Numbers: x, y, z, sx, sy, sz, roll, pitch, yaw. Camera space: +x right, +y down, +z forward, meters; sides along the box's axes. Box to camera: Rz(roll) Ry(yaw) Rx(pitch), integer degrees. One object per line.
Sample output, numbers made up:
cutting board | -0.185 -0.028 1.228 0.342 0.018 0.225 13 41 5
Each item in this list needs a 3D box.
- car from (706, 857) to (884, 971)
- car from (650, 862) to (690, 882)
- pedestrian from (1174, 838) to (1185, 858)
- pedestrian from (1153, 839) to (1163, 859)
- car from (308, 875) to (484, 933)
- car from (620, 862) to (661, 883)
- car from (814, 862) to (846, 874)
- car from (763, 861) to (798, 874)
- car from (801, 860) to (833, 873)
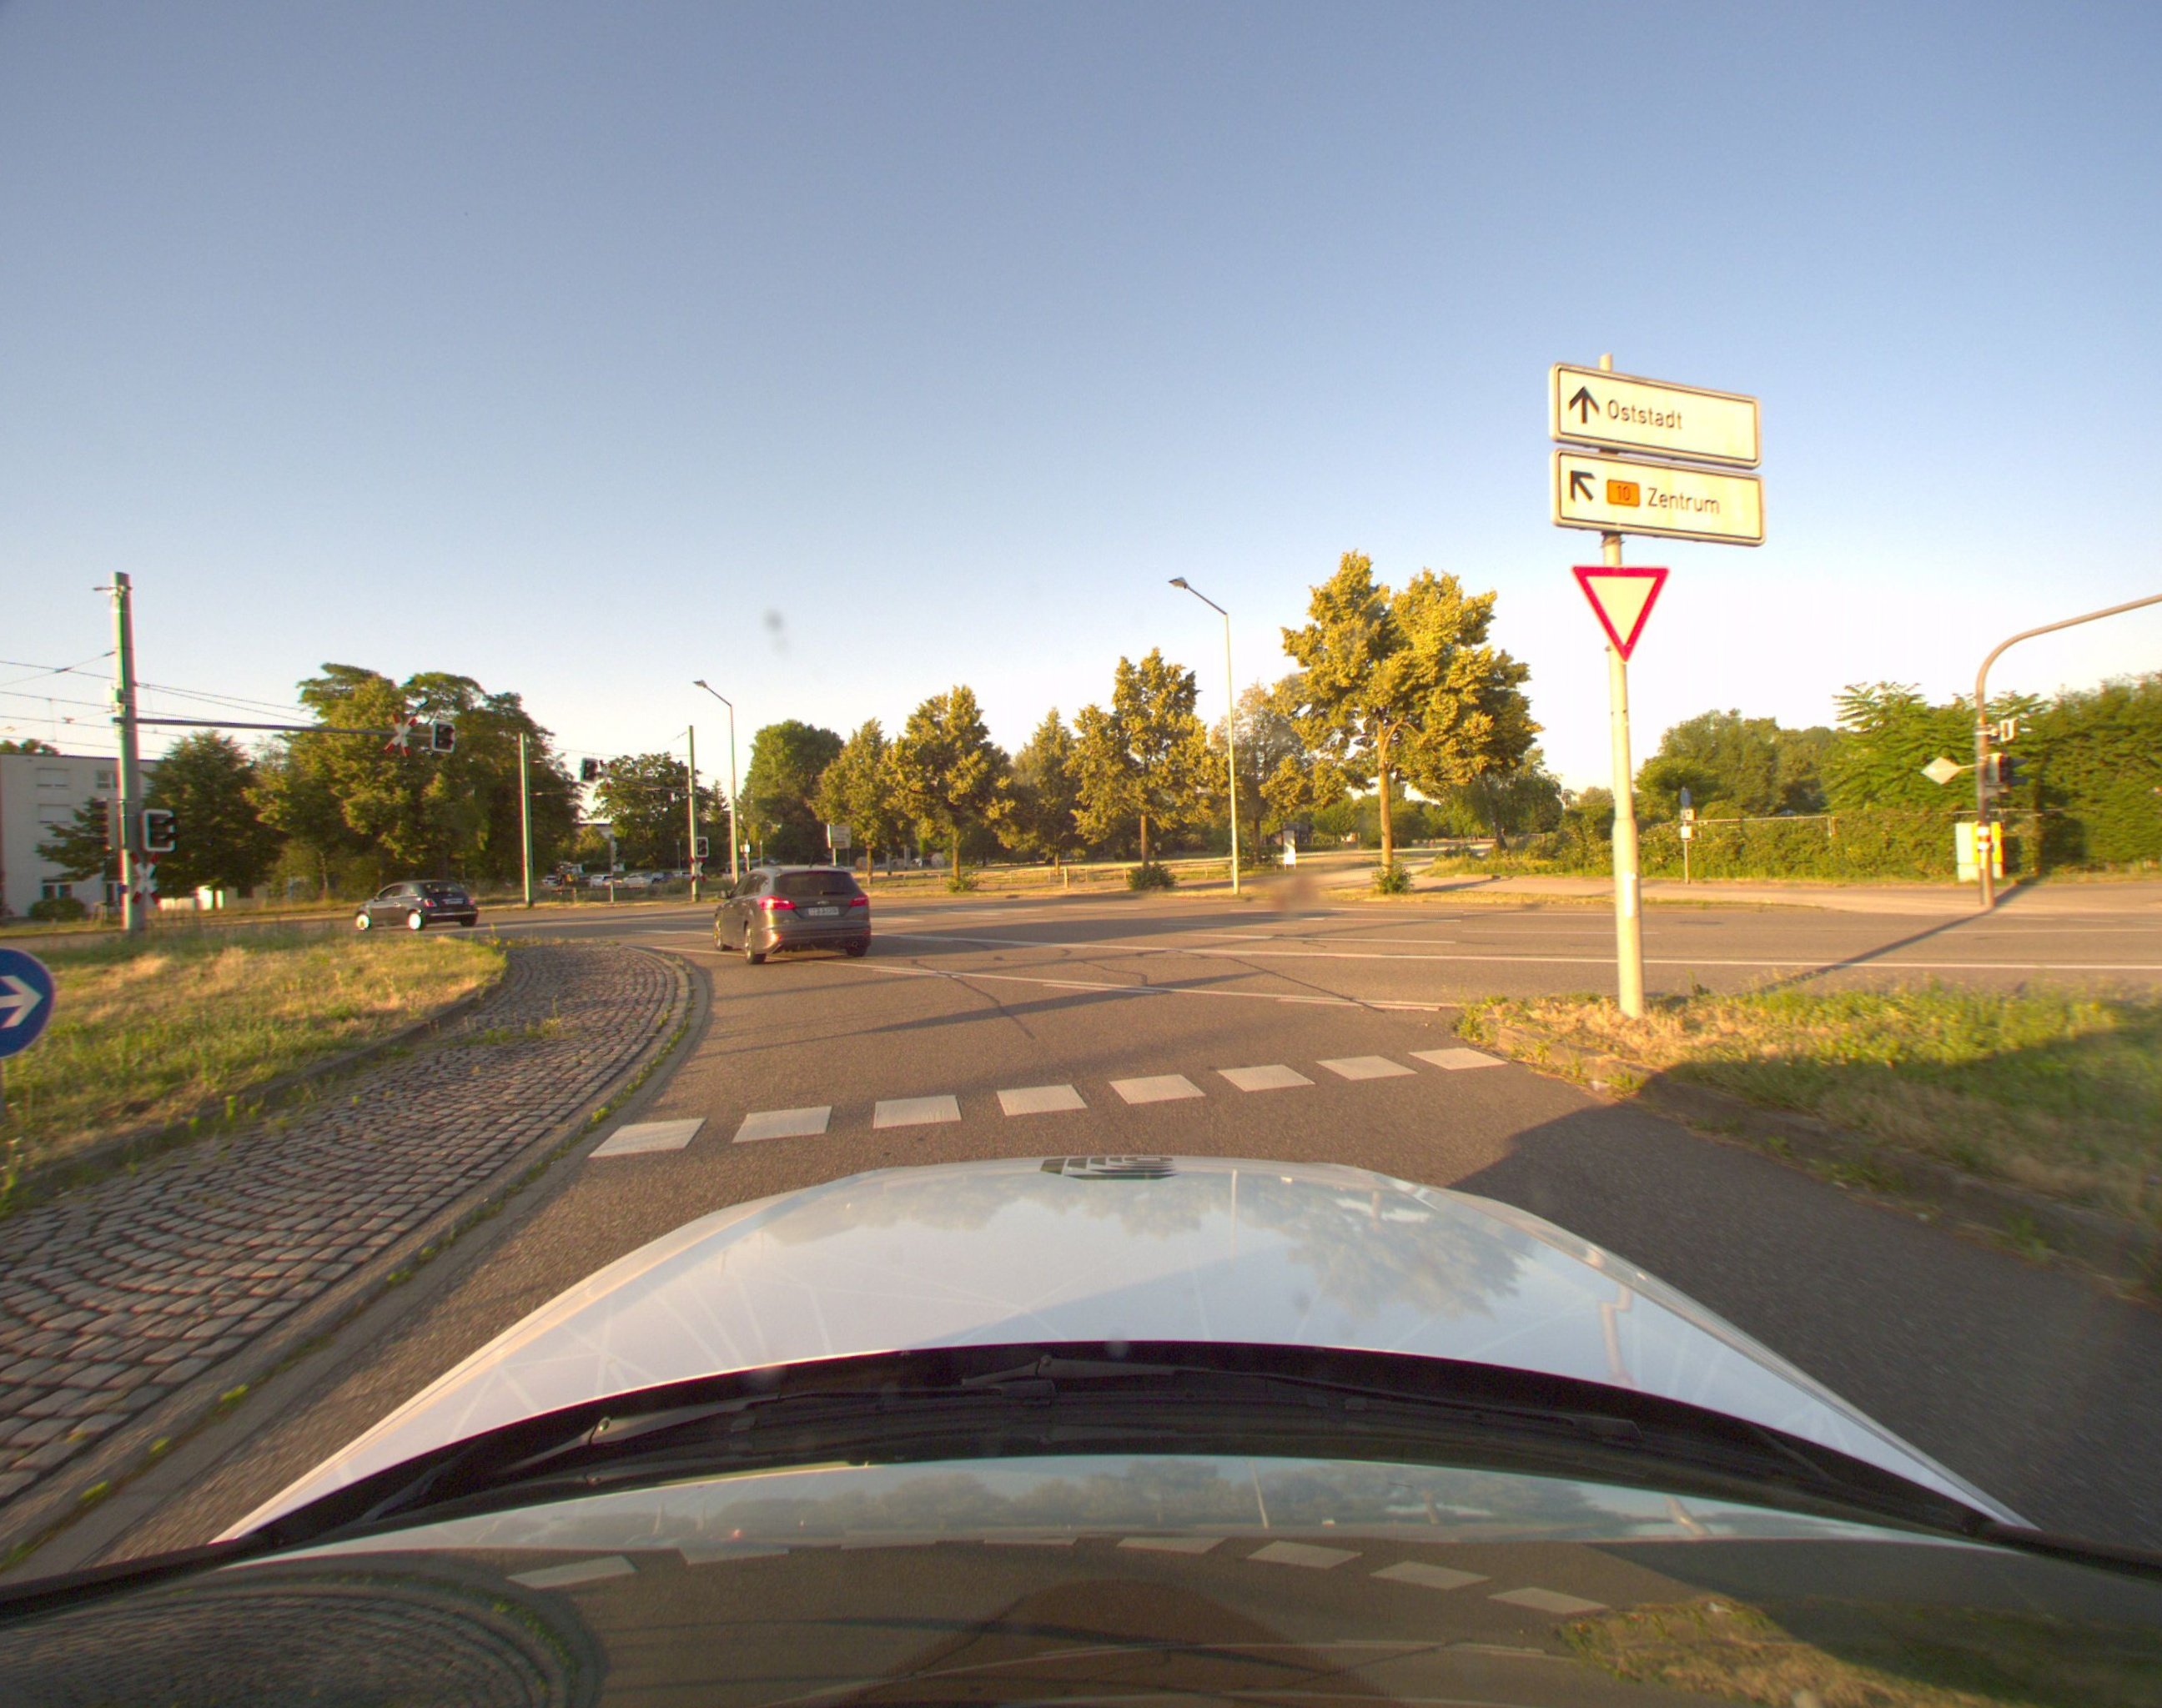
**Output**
car | -4.835 0.853 13.381 1.758 1.466 4.091 -3 1 -33
car | -47.343 2.101 93.829 3.950 2.098 2.012 -2 0 26
pedestrian | 8.152 -0.490 67.430 0.623 1.626 0.524 -2 0 -36
pedestrian | 6.426 -0.440 67.676 0.581 1.626 0.529 -2 0 -21
car | -20.583 1.486 24.533 4.095 1.446 1.757 -3 1 10
car | -49.153 2.067 90.792 3.950 2.098 2.012 -2 0 26
car | -35.872 1.993 116.475 3.950 1.551 2.012 -2 0 25
car | -39.919 1.747 108.139 3.950 1.551 2.012 -2 0 25
car | -37.154 1.739 114.593 3.950 1.551 2.012 -2 0 25
